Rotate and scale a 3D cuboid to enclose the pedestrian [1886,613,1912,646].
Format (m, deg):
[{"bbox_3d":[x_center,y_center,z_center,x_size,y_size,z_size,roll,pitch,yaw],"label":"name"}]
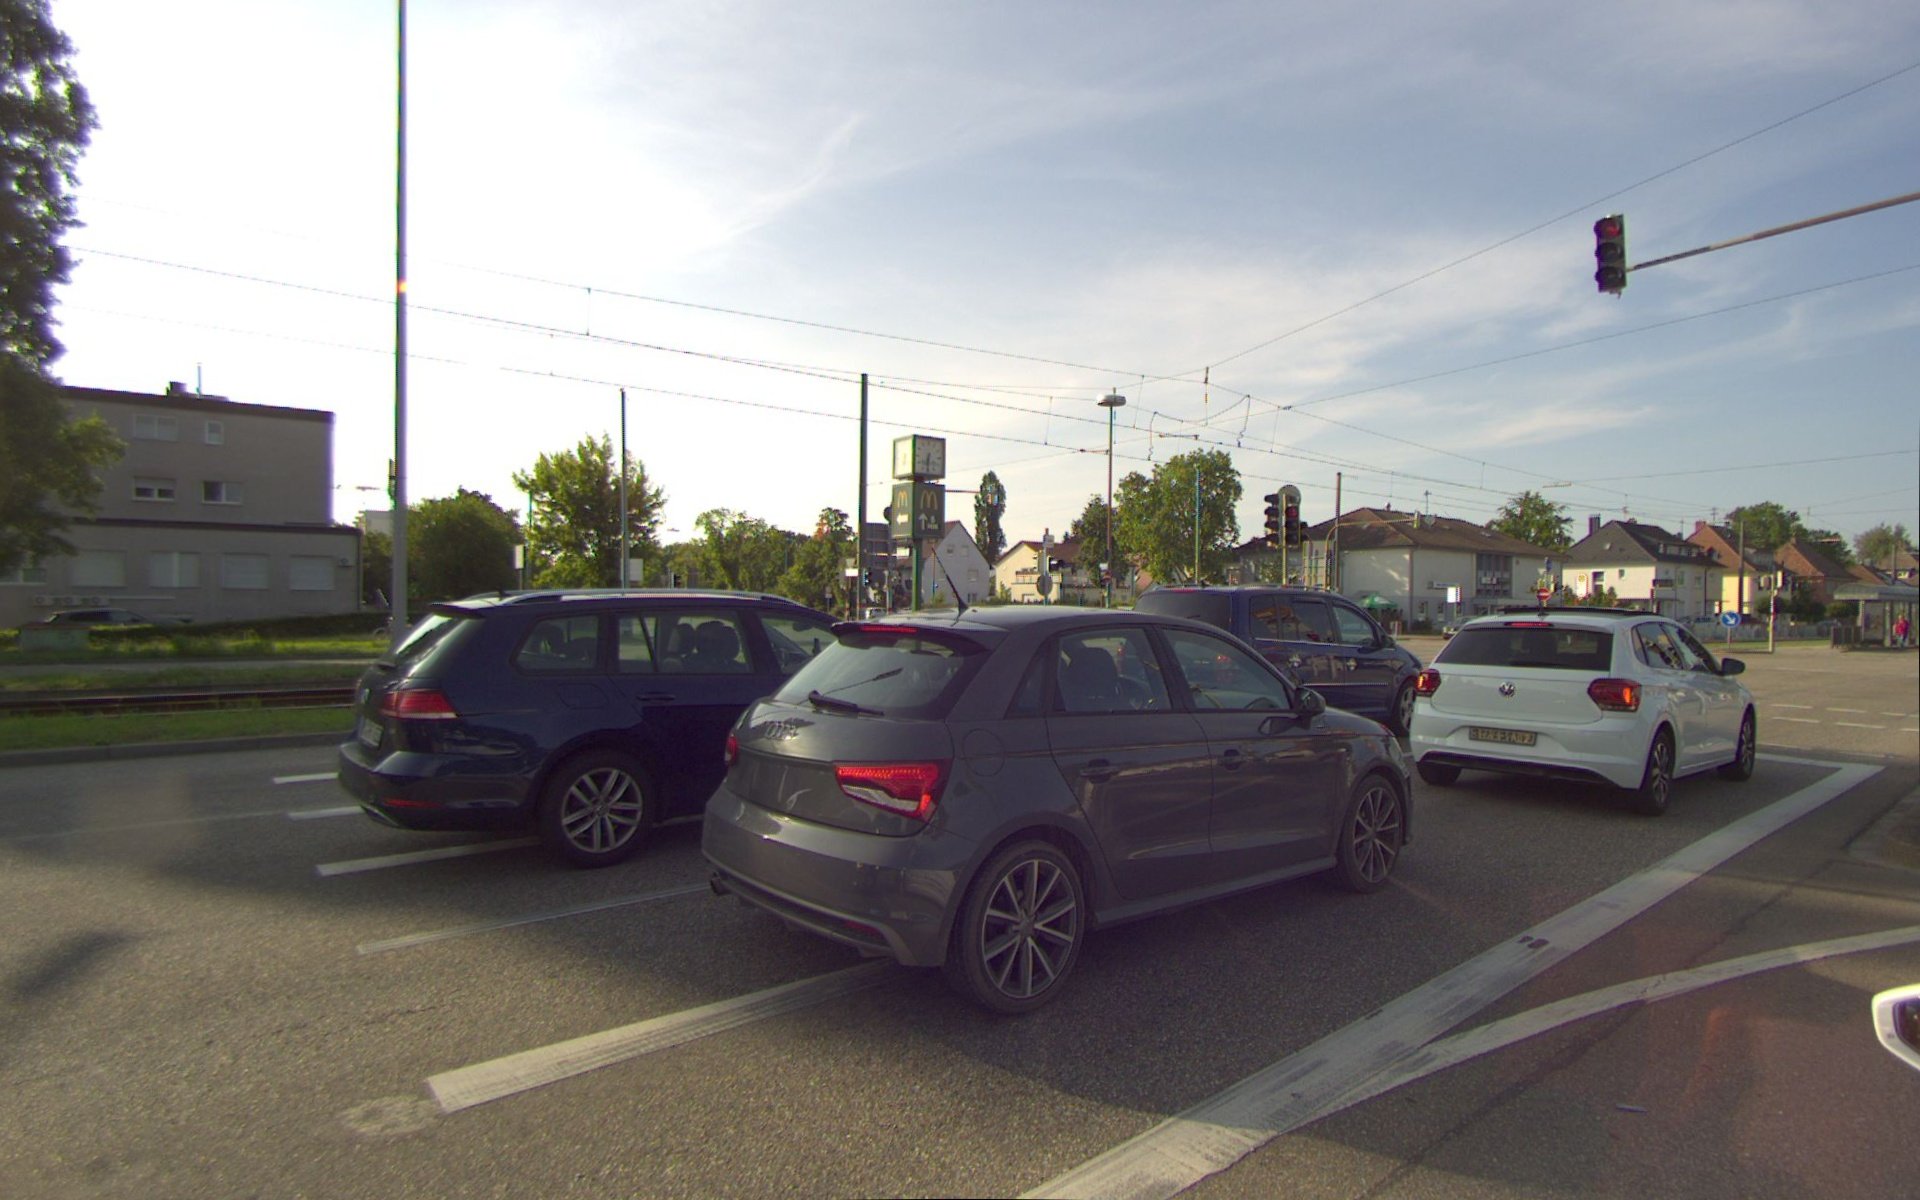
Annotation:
[{"bbox_3d":[43.961,1.381,47.026,0.819,1.519,0.747,2,1,-37],"label":"pedestrian"}]

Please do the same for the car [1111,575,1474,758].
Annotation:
[{"bbox_3d":[3.880,0.640,11.256,4.700,1.673,1.495,1,-1,-37],"label":"car"}]

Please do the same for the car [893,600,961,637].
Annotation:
[{"bbox_3d":[-1.714,0.909,51.502,1.505,1.817,3.958,1,0,-37],"label":"car"}]

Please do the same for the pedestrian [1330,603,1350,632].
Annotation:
[{"bbox_3d":[21.589,0.998,57.025,0.805,1.620,0.741,1,0,-39],"label":"pedestrian"}]

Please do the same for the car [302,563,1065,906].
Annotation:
[{"bbox_3d":[-1.526,0.614,6.555,4.514,1.528,1.686,1,0,-39],"label":"car"}]

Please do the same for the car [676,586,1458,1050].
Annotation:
[{"bbox_3d":[0.745,0.692,4.916,3.794,1.416,1.629,1,-1,-39],"label":"car"}]

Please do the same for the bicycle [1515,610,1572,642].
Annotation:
[{"bbox_3d":[26.989,1.209,46.492,2.051,1.366,1.102,2,1,43],"label":"bicycle"}]

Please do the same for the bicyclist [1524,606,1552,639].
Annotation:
[{"bbox_3d":[26.825,1.045,46.609,0.874,1.450,1.131,2,1,42],"label":"bicyclist"}]

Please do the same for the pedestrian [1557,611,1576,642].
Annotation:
[{"bbox_3d":[29.149,1.254,48.280,0.543,1.450,0.573,2,1,-42],"label":"pedestrian"}]

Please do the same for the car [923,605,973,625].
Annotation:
[{"bbox_3d":[-1.136,1.363,93.239,4.174,1.706,1.982,2,0,-33],"label":"car"}]

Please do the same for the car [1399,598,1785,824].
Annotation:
[{"bbox_3d":[5.513,0.779,8.561,3.982,1.462,1.642,2,0,-40],"label":"car"}]

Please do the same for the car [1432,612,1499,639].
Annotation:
[{"bbox_3d":[30.471,1.512,60.522,4.570,1.528,1.977,1,0,-40],"label":"car"}]
